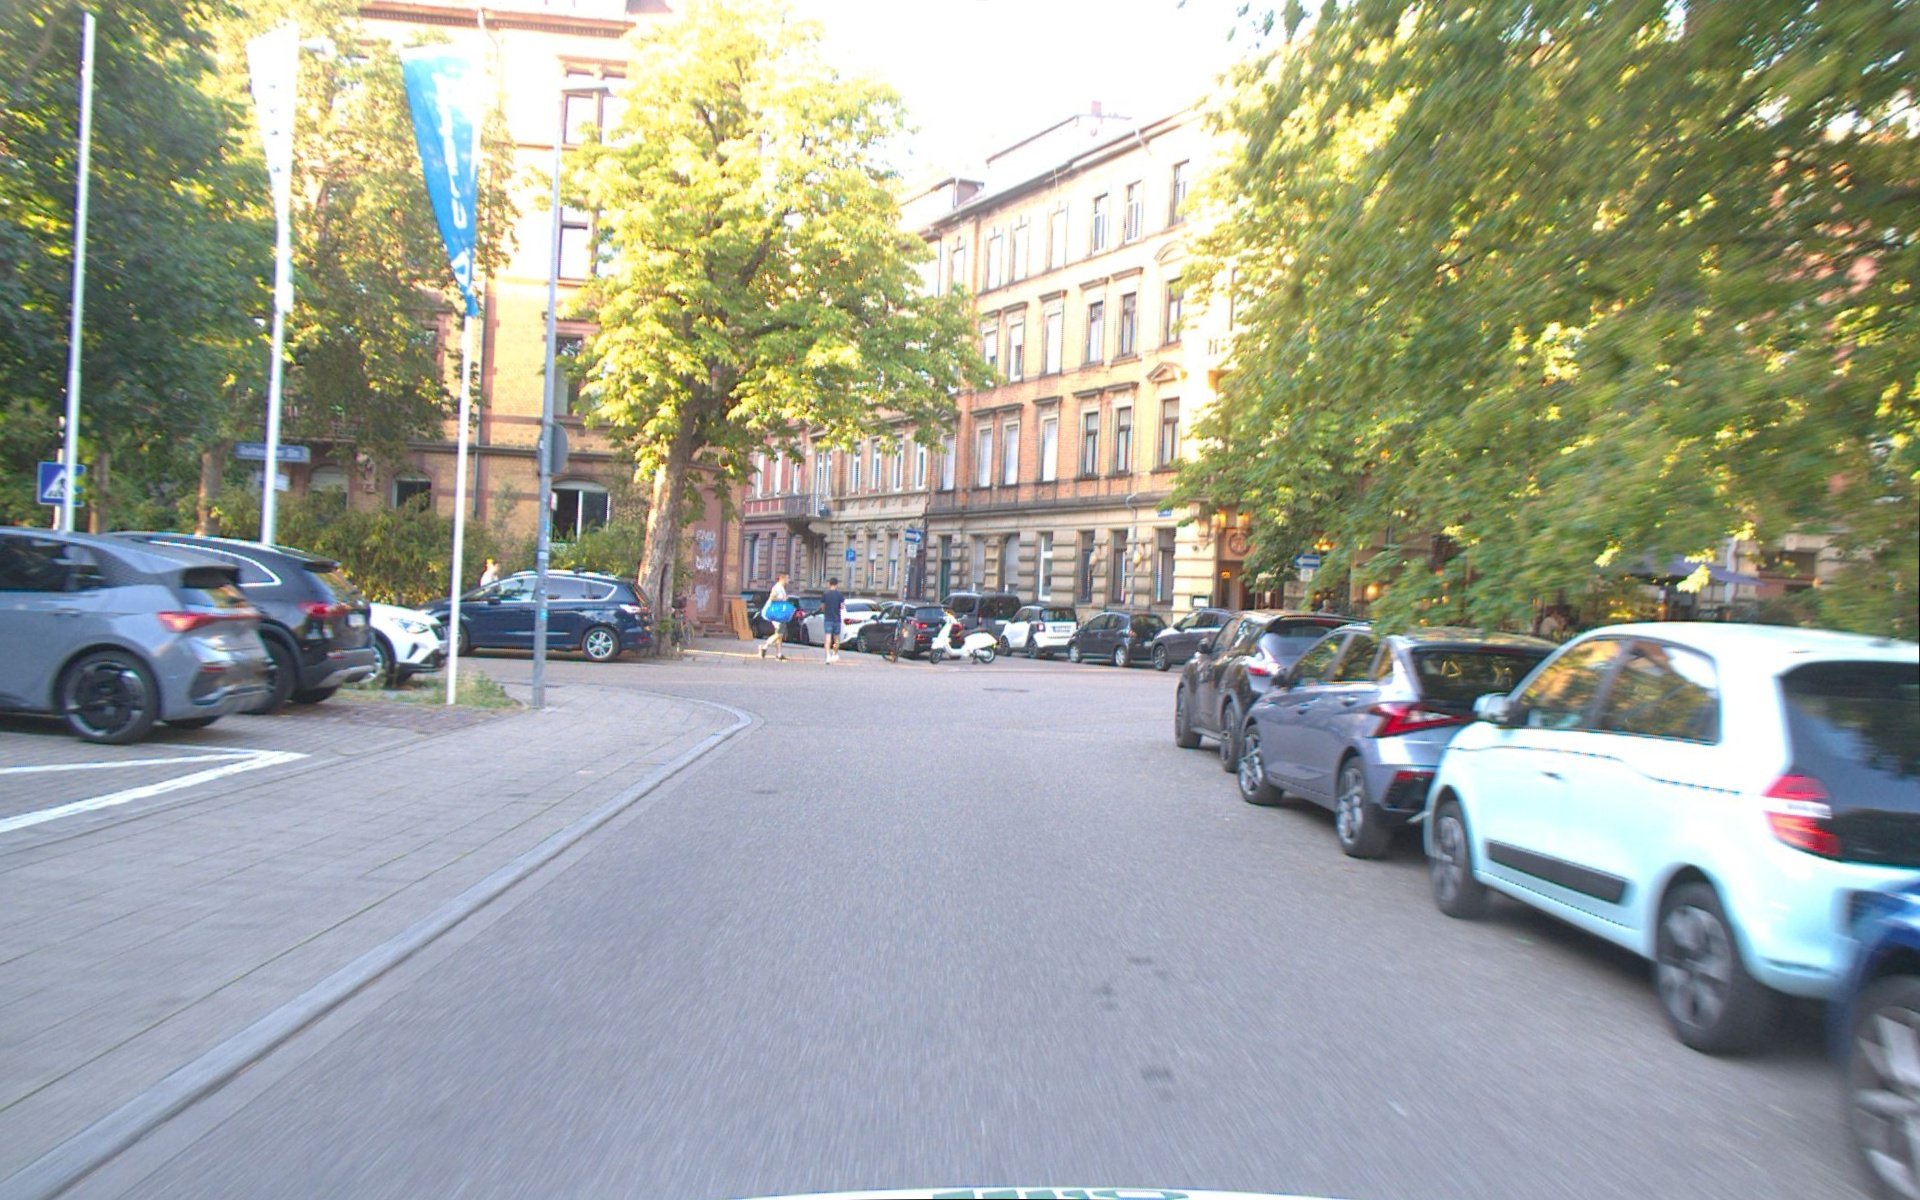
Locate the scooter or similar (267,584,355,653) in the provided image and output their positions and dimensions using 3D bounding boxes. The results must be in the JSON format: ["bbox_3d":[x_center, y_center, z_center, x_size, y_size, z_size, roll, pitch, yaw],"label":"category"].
[{"bbox_3d":[-12.284,0.348,31.334,1.493,1.245,0.442,2,0,-25],"label":"scooter or similar"}]

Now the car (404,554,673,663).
[{"bbox_3d":[-8.064,0.150,32.023,4.738,1.762,1.918,3,1,-7],"label":"car"}]

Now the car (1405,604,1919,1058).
[{"bbox_3d":[3.428,0.810,7.392,1.662,1.502,3.556,2,0,-4],"label":"car"}]

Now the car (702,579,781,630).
[{"bbox_3d":[-7.642,0.139,57.585,1.633,1.551,3.866,3,1,-25],"label":"car"}]

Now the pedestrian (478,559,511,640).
[{"bbox_3d":[-9.714,-0.010,34.529,0.532,1.663,0.447,2,0,-5],"label":"pedestrian"}]

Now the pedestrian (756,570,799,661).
[{"bbox_3d":[-3.866,0.319,35.100,0.799,1.884,0.802,2,0,-5],"label":"pedestrian"}]

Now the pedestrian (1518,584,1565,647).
[{"bbox_3d":[14.268,0.379,40.604,0.759,1.507,0.759,2,0,-12],"label":"pedestrian"}]

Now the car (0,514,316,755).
[{"bbox_3d":[-7.554,0.158,13.119,4.048,1.646,1.912,4,1,-3],"label":"car"}]

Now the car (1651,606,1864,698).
[{"bbox_3d":[16.769,1.076,34.865,3.685,1.633,1.625,3,2,-8],"label":"car"}]

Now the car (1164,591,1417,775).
[{"bbox_3d":[3.249,0.762,17.015,1.661,1.598,3.970,2,0,-2],"label":"car"}]

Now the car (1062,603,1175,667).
[{"bbox_3d":[4.272,0.924,45.036,1.653,1.552,3.219,2,1,-25],"label":"car"}]

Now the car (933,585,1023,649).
[{"bbox_3d":[0.542,0.512,52.067,1.653,1.813,2.992,3,0,-25],"label":"car"}]

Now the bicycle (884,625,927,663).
[{"bbox_3d":[-1.246,1.003,38.091,0.416,0.836,1.462,3,1,21],"label":"bicycle"}]

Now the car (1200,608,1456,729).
[{"bbox_3d":[5.369,0.970,23.862,1.849,1.492,3.947,4,1,42],"label":"car"}]

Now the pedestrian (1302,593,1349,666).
[{"bbox_3d":[9.530,0.766,43.123,0.828,1.835,0.771,2,0,-21],"label":"pedestrian"}]

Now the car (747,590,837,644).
[{"bbox_3d":[-5.352,0.506,52.308,1.633,1.455,3.866,3,1,-25],"label":"car"}]

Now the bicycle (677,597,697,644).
[{"bbox_3d":[-6.456,0.470,39.163,0.312,1.046,1.675,2,1,-5],"label":"bicycle"}]

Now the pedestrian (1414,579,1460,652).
[{"bbox_3d":[12.235,0.387,42.438,0.760,1.835,0.840,2,0,-16],"label":"pedestrian"}]

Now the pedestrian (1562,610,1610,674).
[{"bbox_3d":[15.454,1.029,40.845,0.759,1.507,0.759,2,0,-12],"label":"pedestrian"}]

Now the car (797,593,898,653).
[{"bbox_3d":[-3.318,0.644,48.058,1.632,1.455,4.139,3,1,-23],"label":"car"}]

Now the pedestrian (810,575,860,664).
[{"bbox_3d":[-2.692,0.404,35.480,0.724,1.835,1.115,2,1,-21],"label":"pedestrian"}]

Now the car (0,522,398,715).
[{"bbox_3d":[-7.796,0.142,16.112,3.986,1.646,1.764,2,1,-3],"label":"car"}]

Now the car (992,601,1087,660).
[{"bbox_3d":[2.306,0.878,48.609,1.653,1.552,2.746,3,0,-25],"label":"car"}]

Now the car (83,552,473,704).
[{"bbox_3d":[-8.338,0.319,20.540,3.967,1.500,1.919,4,1,-5],"label":"car"}]

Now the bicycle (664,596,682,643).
[{"bbox_3d":[-6.760,0.454,39.039,0.237,1.046,1.675,2,1,-5],"label":"bicycle"}]

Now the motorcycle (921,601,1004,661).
[{"bbox_3d":[0.063,0.751,40.228,1.897,1.364,0.576,2,0,-12],"label":"motorcycle"}]

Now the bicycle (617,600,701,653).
[{"bbox_3d":[-6.317,0.567,34.684,1.650,1.046,0.442,2,0,-25],"label":"bicycle"}]

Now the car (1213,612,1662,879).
[{"bbox_3d":[3.188,0.891,11.979,1.662,1.502,4.207,2,0,-5],"label":"car"}]

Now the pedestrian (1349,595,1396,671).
[{"bbox_3d":[10.282,0.824,41.231,0.760,1.835,0.840,2,0,-16],"label":"pedestrian"}]

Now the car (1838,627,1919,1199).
[{"bbox_3d":[3.353,0.857,2.607,1.661,1.502,4.116,2,0,-1],"label":"car"}]

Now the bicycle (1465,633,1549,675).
[{"bbox_3d":[12.693,1.260,38.369,1.935,0.900,0.399,2,0,-15],"label":"bicycle"}]

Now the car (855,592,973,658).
[{"bbox_3d":[-1.262,0.636,43.491,1.633,1.455,3.960,3,1,-24],"label":"car"}]

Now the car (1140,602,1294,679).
[{"bbox_3d":[6.252,0.957,40.636,1.890,1.552,3.867,3,1,-25],"label":"car"}]
